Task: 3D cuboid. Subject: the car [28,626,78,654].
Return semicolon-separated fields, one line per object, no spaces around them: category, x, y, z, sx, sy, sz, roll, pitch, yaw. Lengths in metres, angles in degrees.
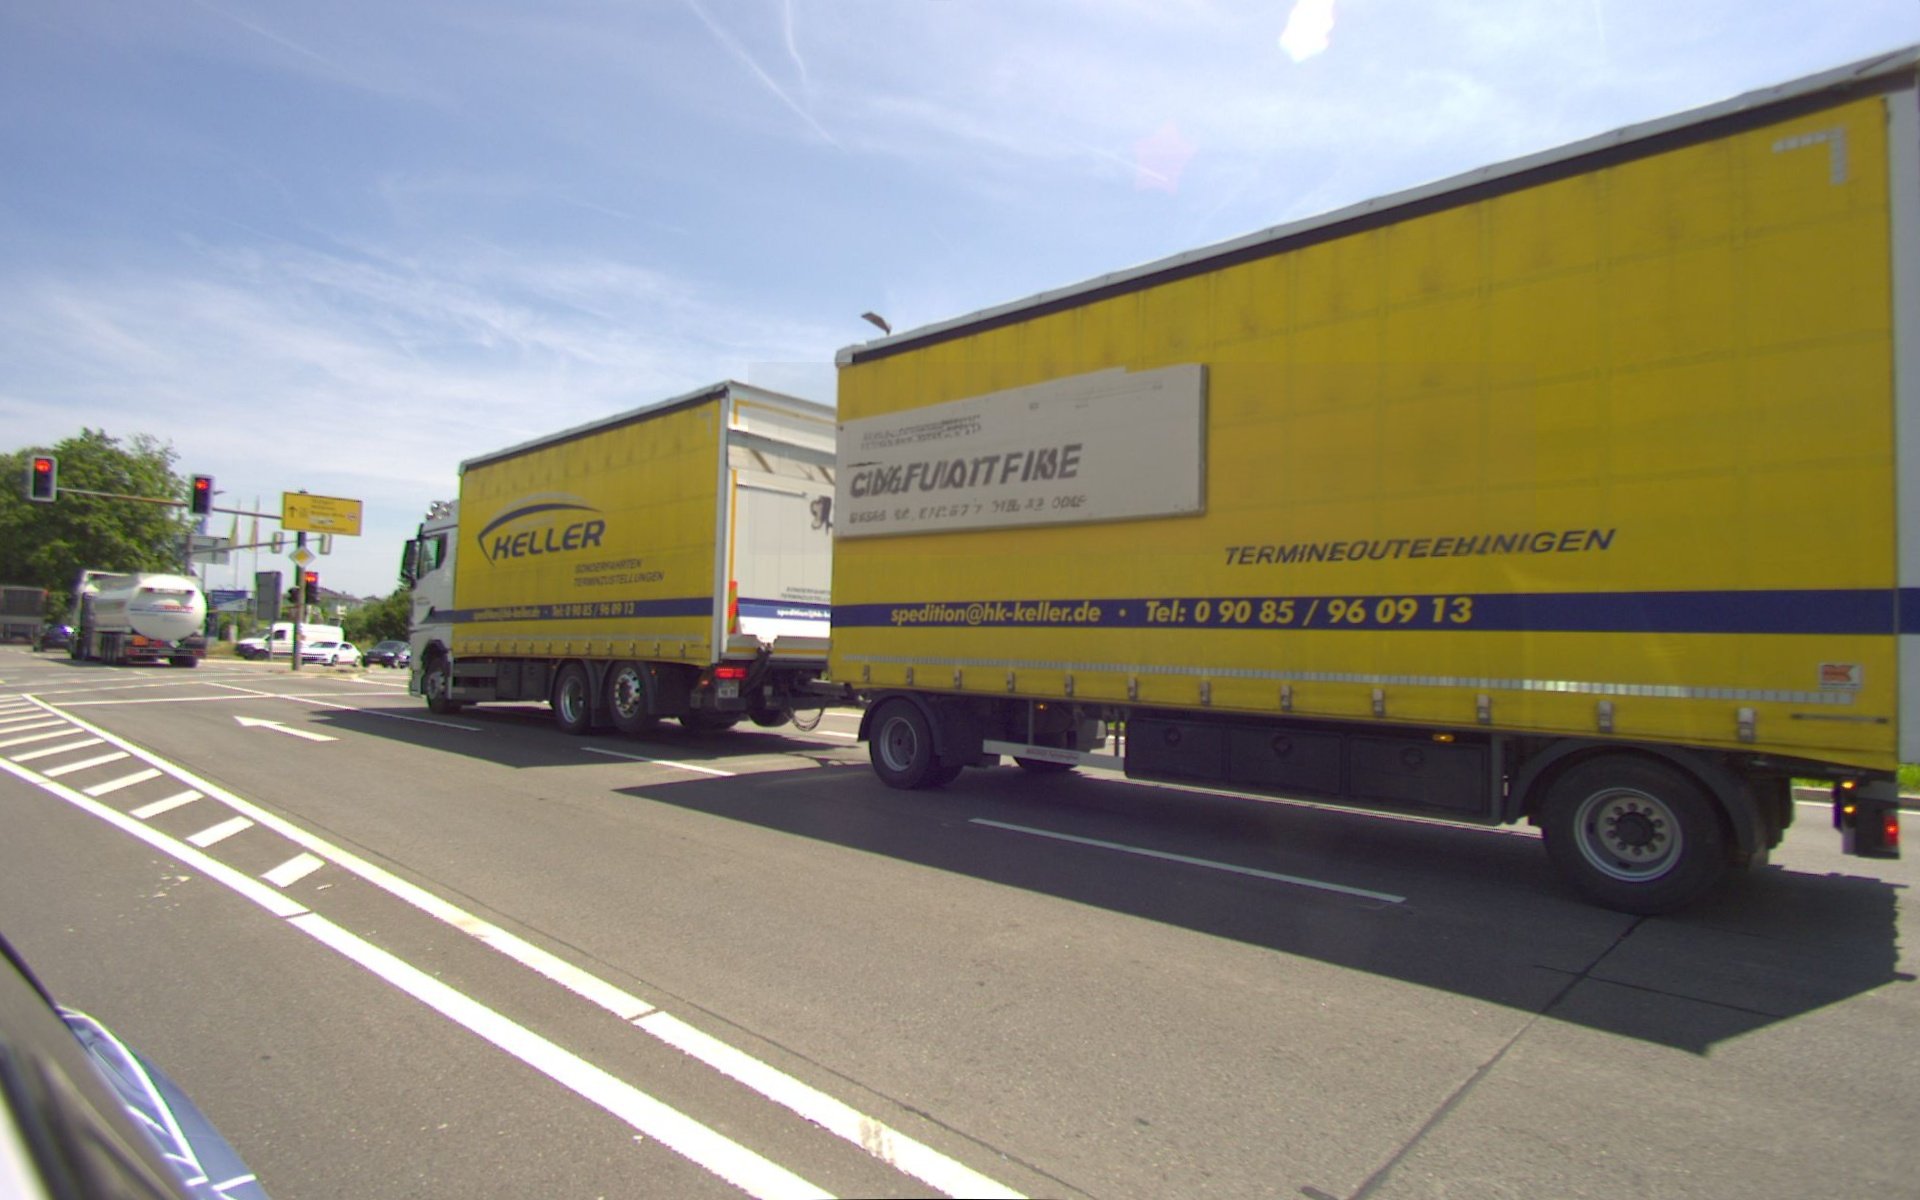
car;-51.365;2.277;57.270;4.154;1.439;1.665;-1;-4;43

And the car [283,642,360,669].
car;-33.743;2.946;53.599;1.894;1.324;4.006;2;-3;-7

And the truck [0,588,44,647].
truck;-70.950;1.412;75.075;17.086;3.985;2.813;-2;-4;43

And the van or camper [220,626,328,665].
van or camper;-44.375;2.926;65.612;2.094;2.431;5.398;-1;-3;38

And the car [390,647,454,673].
car;-30.866;3.444;58.176;1.894;1.432;4.006;2;-3;-7

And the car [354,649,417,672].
car;-34.865;3.678;61.503;1.894;1.324;4.006;2;-3;-7

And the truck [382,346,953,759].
truck;-4.912;-0.337;14.736;10.354;4.136;2.996;-1;-4;43

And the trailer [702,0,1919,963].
trailer;1.974;-0.505;8.330;10.059;4.320;2.978;-2;-3;43

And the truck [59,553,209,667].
truck;-34.606;0.542;42.024;15.129;4.049;2.576;-1;-4;43
